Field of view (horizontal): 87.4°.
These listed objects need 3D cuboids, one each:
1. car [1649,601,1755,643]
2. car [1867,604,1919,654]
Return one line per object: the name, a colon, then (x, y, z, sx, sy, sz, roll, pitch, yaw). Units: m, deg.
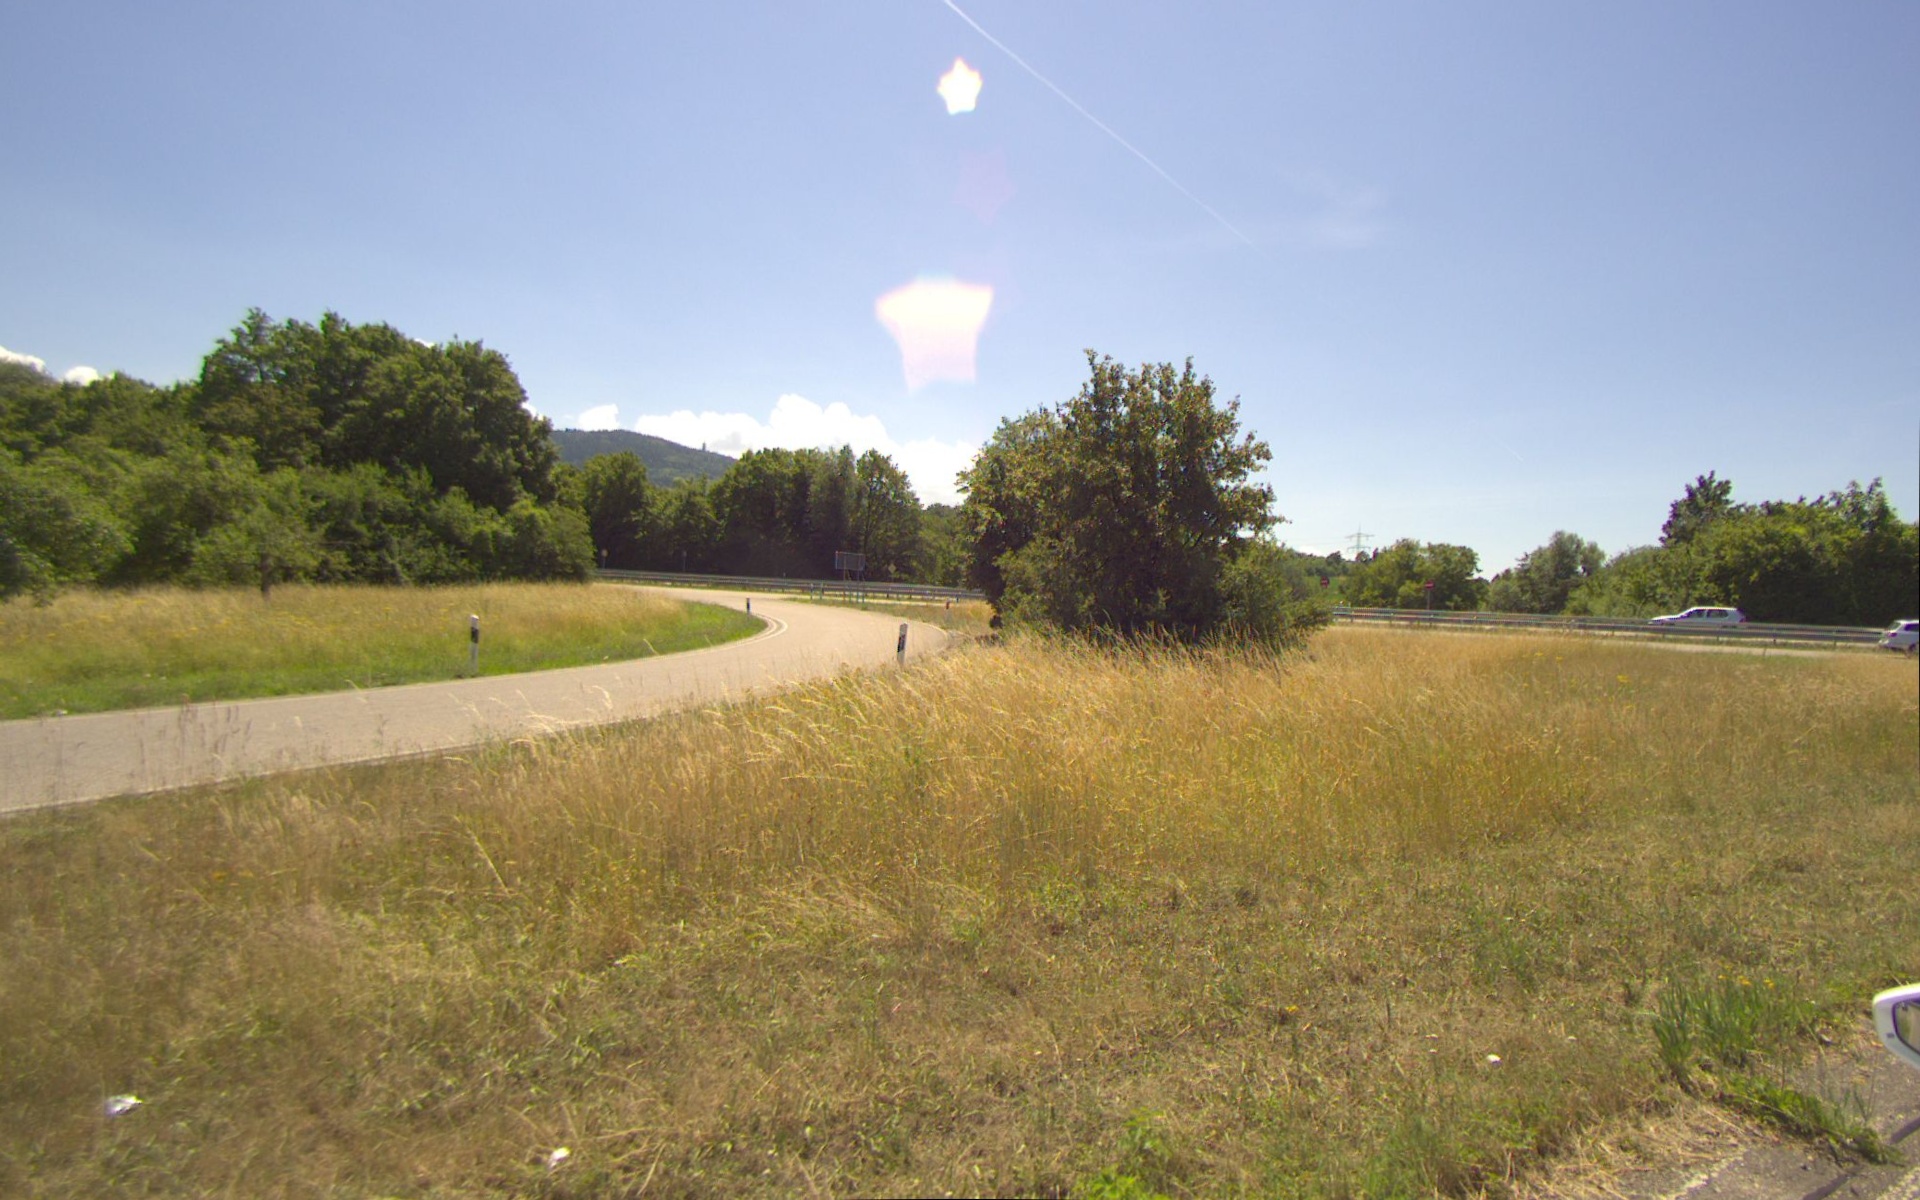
car: (37.558, 1.081, 50.979, 4.155, 1.813, 1.994, 4, 1, 34)
car: (37.893, 1.198, 38.293, 4.710, 1.813, 1.992, 2, -1, 38)
